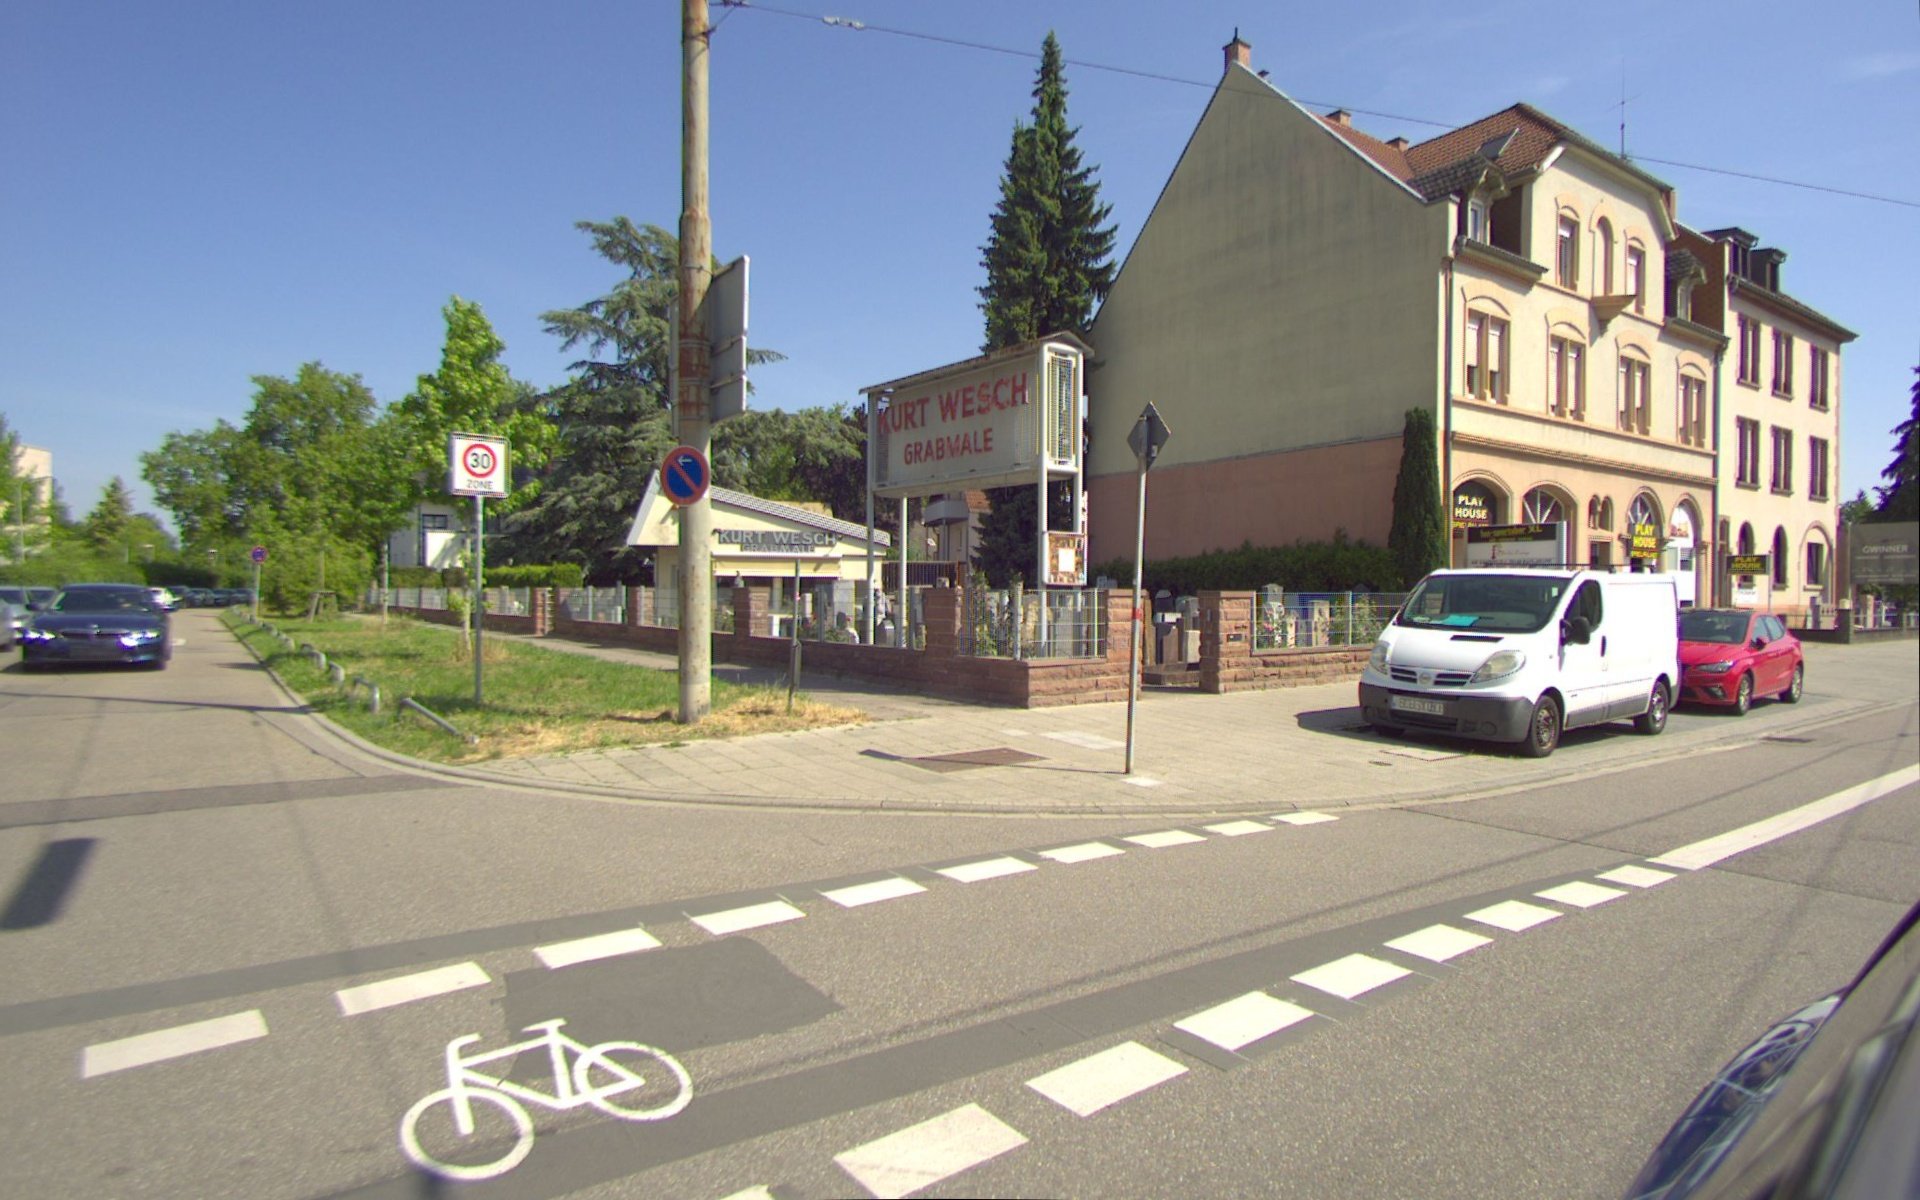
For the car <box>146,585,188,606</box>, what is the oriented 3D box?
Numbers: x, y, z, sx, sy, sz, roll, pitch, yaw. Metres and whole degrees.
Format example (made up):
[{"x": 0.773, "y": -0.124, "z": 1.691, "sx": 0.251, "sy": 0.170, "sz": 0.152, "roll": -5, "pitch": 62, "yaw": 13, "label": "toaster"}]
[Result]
[{"x": -57.267, "y": -0.315, "z": 73.133, "sx": 1.624, "sy": 1.444, "sz": 4.006, "roll": 0, "pitch": 0, "yaw": -26, "label": "car"}]

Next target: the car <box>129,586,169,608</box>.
[{"x": -54.774, "y": -0.206, "z": 68.369, "sx": 1.625, "sy": 1.444, "sz": 4.003, "roll": 0, "pitch": 0, "yaw": -32, "label": "car"}]

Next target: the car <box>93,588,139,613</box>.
[{"x": -51.724, "y": 0.012, "z": 62.098, "sx": 1.625, "sy": 1.444, "sz": 4.002, "roll": 0, "pitch": 0, "yaw": -32, "label": "car"}]

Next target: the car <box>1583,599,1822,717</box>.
[{"x": 11.220, "y": 0.761, "z": 15.203, "sx": 4.232, "sy": 1.461, "sz": 1.727, "roll": 0, "pitch": 2, "yaw": -37, "label": "car"}]

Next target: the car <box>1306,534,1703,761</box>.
[{"x": 6.386, "y": 0.431, "z": 11.607, "sx": 5.094, "sy": 2.080, "sz": 1.983, "roll": 1, "pitch": 1, "yaw": -37, "label": "car"}]

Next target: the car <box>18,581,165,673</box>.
[{"x": -14.838, "y": 0.395, "z": 17.463, "sx": 1.640, "sy": 1.405, "sz": 3.756, "roll": 0, "pitch": 0, "yaw": -36, "label": "car"}]

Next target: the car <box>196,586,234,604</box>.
[{"x": -60.737, "y": -0.439, "z": 82.557, "sx": 1.623, "sy": 1.444, "sz": 4.007, "roll": 0, "pitch": 0, "yaw": -23, "label": "car"}]

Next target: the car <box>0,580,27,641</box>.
[{"x": -24.439, "y": 0.224, "z": 24.969, "sx": 1.627, "sy": 1.444, "sz": 3.999, "roll": 0, "pitch": 0, "yaw": -36, "label": "car"}]

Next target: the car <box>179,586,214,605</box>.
[{"x": -58.863, "y": -0.324, "z": 78.100, "sx": 1.624, "sy": 1.444, "sz": 4.004, "roll": 0, "pitch": 0, "yaw": -30, "label": "car"}]
